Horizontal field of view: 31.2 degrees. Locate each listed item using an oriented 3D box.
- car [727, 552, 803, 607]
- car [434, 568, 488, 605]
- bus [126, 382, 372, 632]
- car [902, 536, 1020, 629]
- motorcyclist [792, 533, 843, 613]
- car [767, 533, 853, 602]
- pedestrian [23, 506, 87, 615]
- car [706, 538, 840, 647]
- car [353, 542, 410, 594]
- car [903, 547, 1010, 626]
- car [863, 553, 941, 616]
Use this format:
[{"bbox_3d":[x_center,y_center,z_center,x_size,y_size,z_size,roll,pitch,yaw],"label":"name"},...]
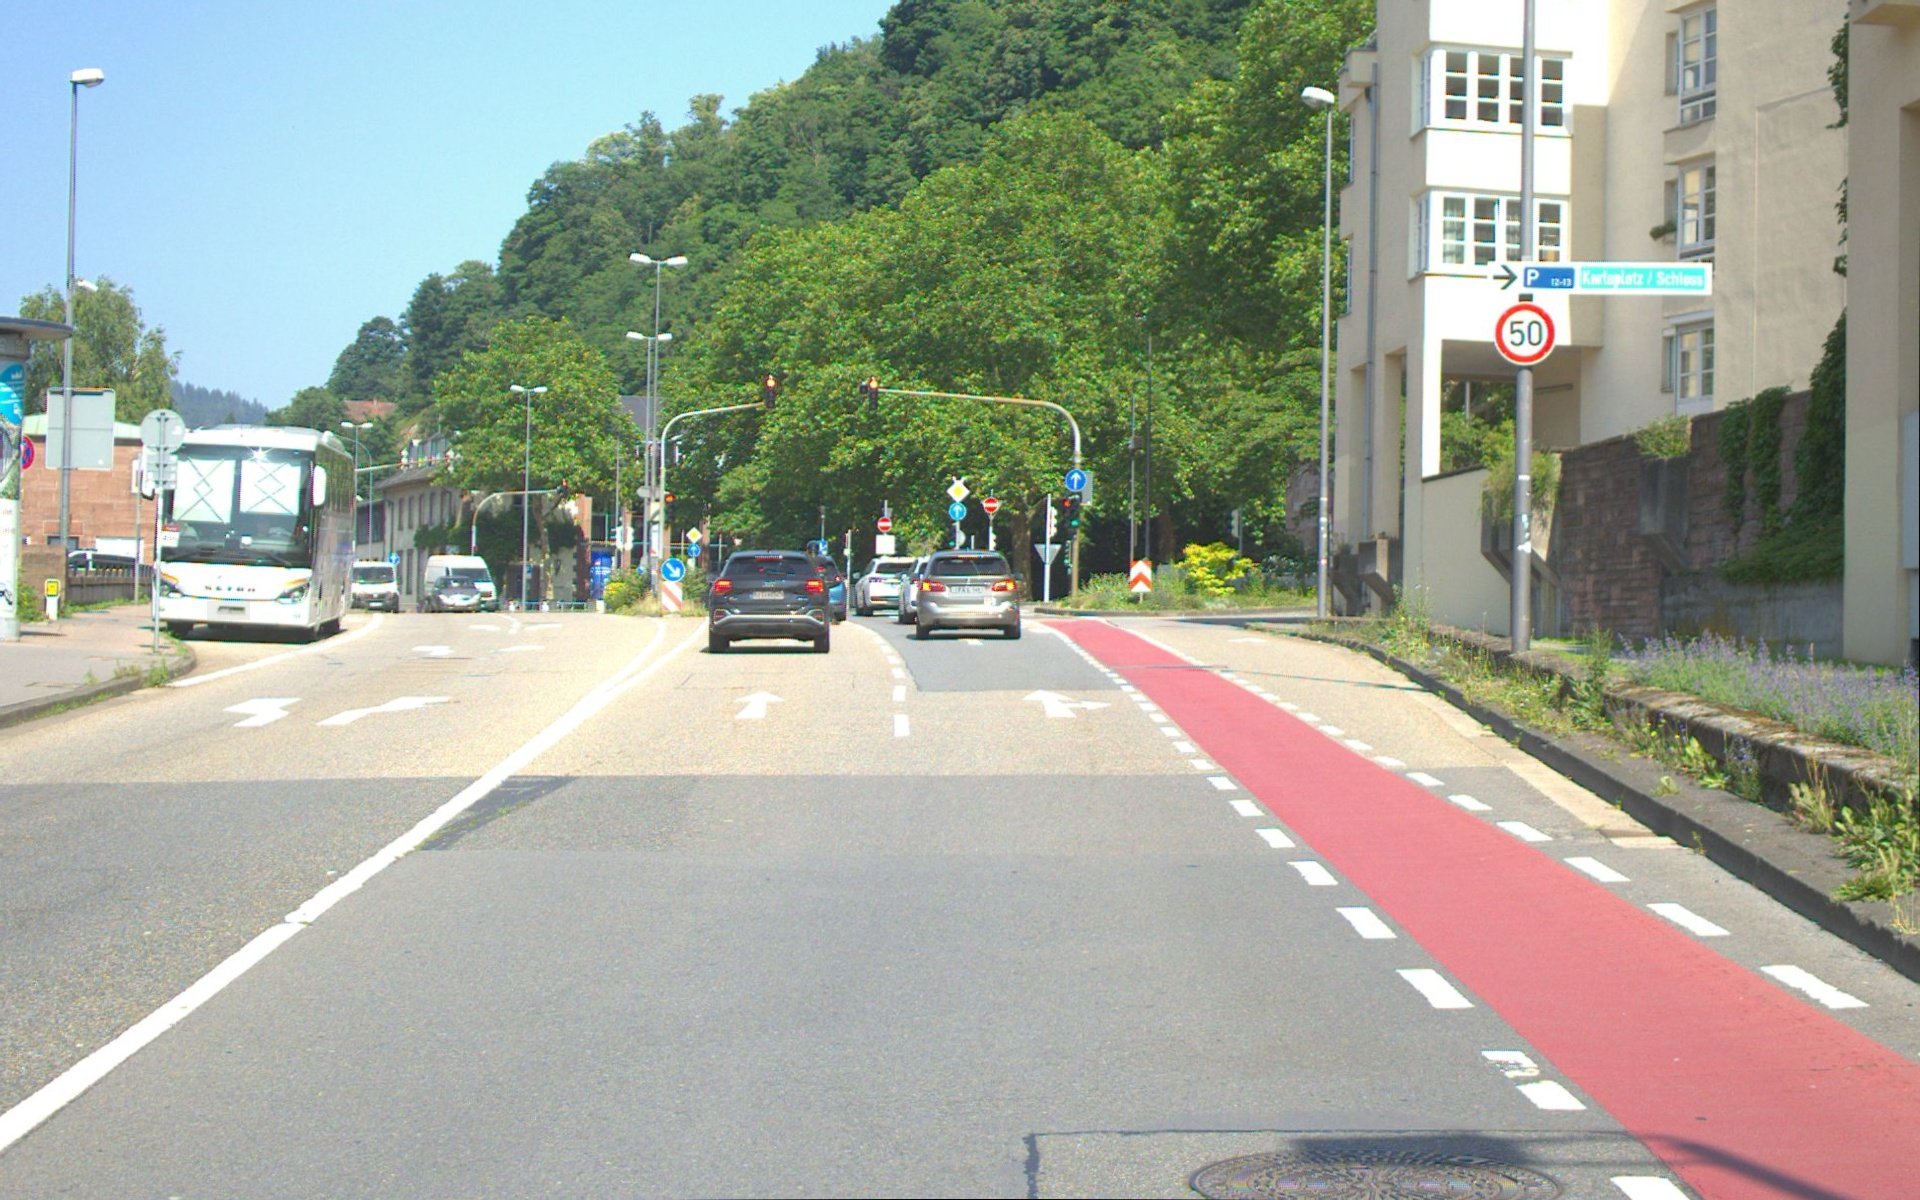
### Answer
[{"bbox_3d":[-4.960,-0.532,87.087,1.866,1.354,4.001,0,1,-4],"label":"car"},{"bbox_3d":[-20.494,-0.565,141.327,1.993,1.427,4.168,0,1,-5],"label":"car"},{"bbox_3d":[-12.501,-1.588,61.601,2.956,3.787,13.247,4,0,-7],"label":"bus"},{"bbox_3d":[-0.022,-0.311,60.124,1.888,1.516,4.306,2,0,-2],"label":"car"},{"bbox_3d":[-3.023,-0.579,73.019,1.075,1.678,1.156,0,1,-2],"label":"motorcyclist"},{"bbox_3d":[-3.497,-0.769,79.461,1.866,1.557,4.001,0,1,-4],"label":"car"},{"bbox_3d":[-15.130,-0.663,57.481,0.892,1.790,1.041,1,0,-8],"label":"pedestrian"},{"bbox_3d":[-2.759,-0.118,51.423,1.869,1.508,4.151,2,0,-2],"label":"car"},{"bbox_3d":[-24.115,-1.339,143.211,2.214,2.071,5.045,-3,1,-10],"label":"car"},{"bbox_3d":[-0.106,-0.290,70.833,1.993,1.528,4.859,1,0,-2],"label":"car"},{"bbox_3d":[-1.504,-0.397,87.156,1.785,1.527,4.737,0,0,-3],"label":"car"}]
